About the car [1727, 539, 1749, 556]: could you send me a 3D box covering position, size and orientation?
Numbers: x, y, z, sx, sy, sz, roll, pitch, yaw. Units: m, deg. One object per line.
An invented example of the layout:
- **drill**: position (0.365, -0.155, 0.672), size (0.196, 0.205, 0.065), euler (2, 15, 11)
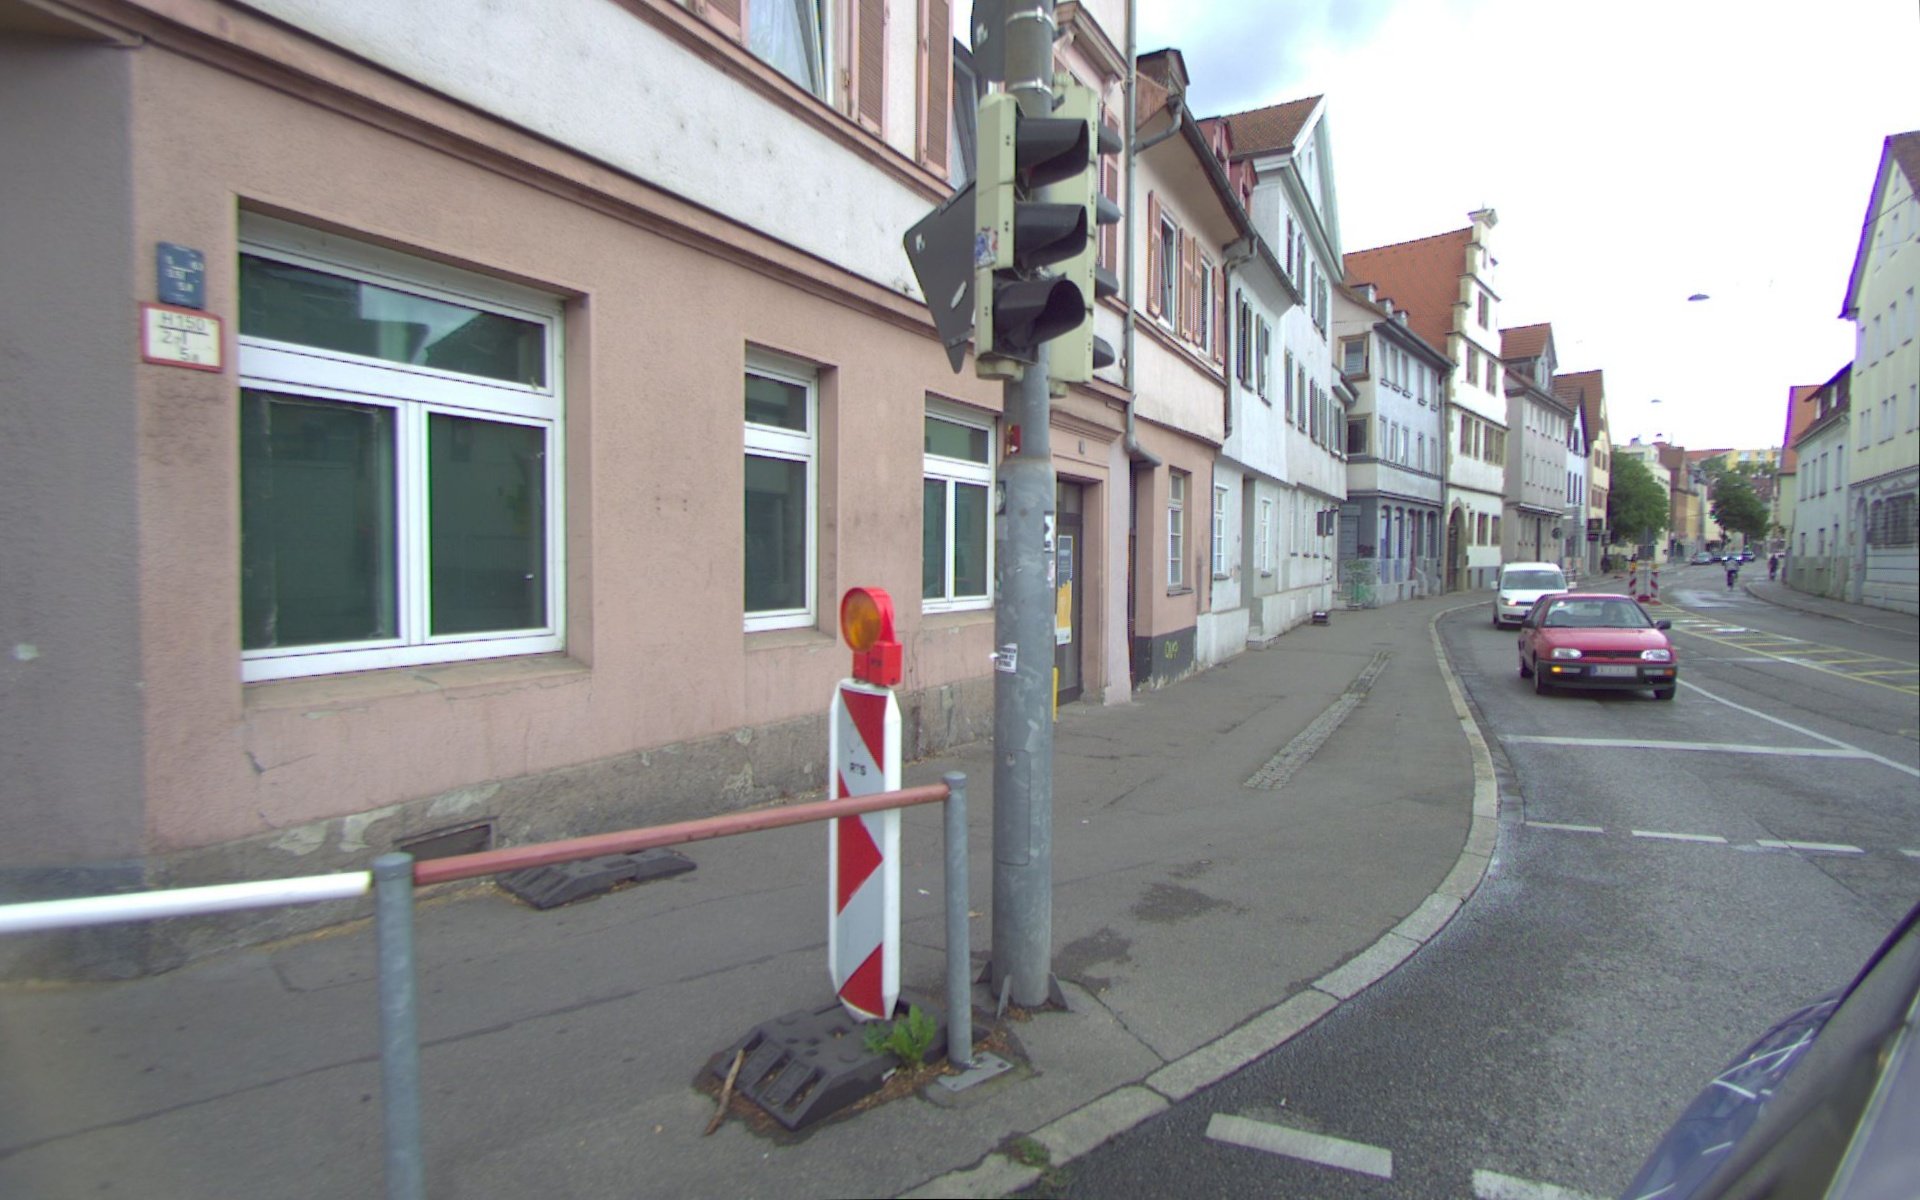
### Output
- **car**: position (92.542, -6.221, 120.395), size (1.990, 2.038, 3.945), euler (2, 3, 39)

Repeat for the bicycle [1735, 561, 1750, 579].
- **bicycle**: position (41.405, -1.597, 53.534), size (0.540, 0.903, 1.853), euler (2, 3, 41)

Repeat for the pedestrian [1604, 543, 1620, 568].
- **pedestrian**: position (52.825, -3.585, 81.968), size (0.868, 1.923, 0.890), euler (2, 0, 22)

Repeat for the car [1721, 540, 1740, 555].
- **car**: position (107.999, -7.313, 141.900), size (1.990, 2.038, 3.945), euler (2, 3, 39)

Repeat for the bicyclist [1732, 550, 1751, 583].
- **bicyclist**: position (41.451, -1.789, 53.653), size (0.723, 1.722, 0.799), euler (2, 2, 42)

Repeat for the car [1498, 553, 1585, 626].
- **car**: position (15.738, -0.355, 27.561), size (1.788, 1.813, 4.309), euler (1, 2, 27)

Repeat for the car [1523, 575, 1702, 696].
- **car**: position (9.521, 0.435, 15.067), size (1.788, 1.485, 3.964), euler (-2, 1, 27)

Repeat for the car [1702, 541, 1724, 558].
- **car**: position (93.859, -6.300, 126.080), size (1.990, 2.038, 3.945), euler (2, 3, 39)
